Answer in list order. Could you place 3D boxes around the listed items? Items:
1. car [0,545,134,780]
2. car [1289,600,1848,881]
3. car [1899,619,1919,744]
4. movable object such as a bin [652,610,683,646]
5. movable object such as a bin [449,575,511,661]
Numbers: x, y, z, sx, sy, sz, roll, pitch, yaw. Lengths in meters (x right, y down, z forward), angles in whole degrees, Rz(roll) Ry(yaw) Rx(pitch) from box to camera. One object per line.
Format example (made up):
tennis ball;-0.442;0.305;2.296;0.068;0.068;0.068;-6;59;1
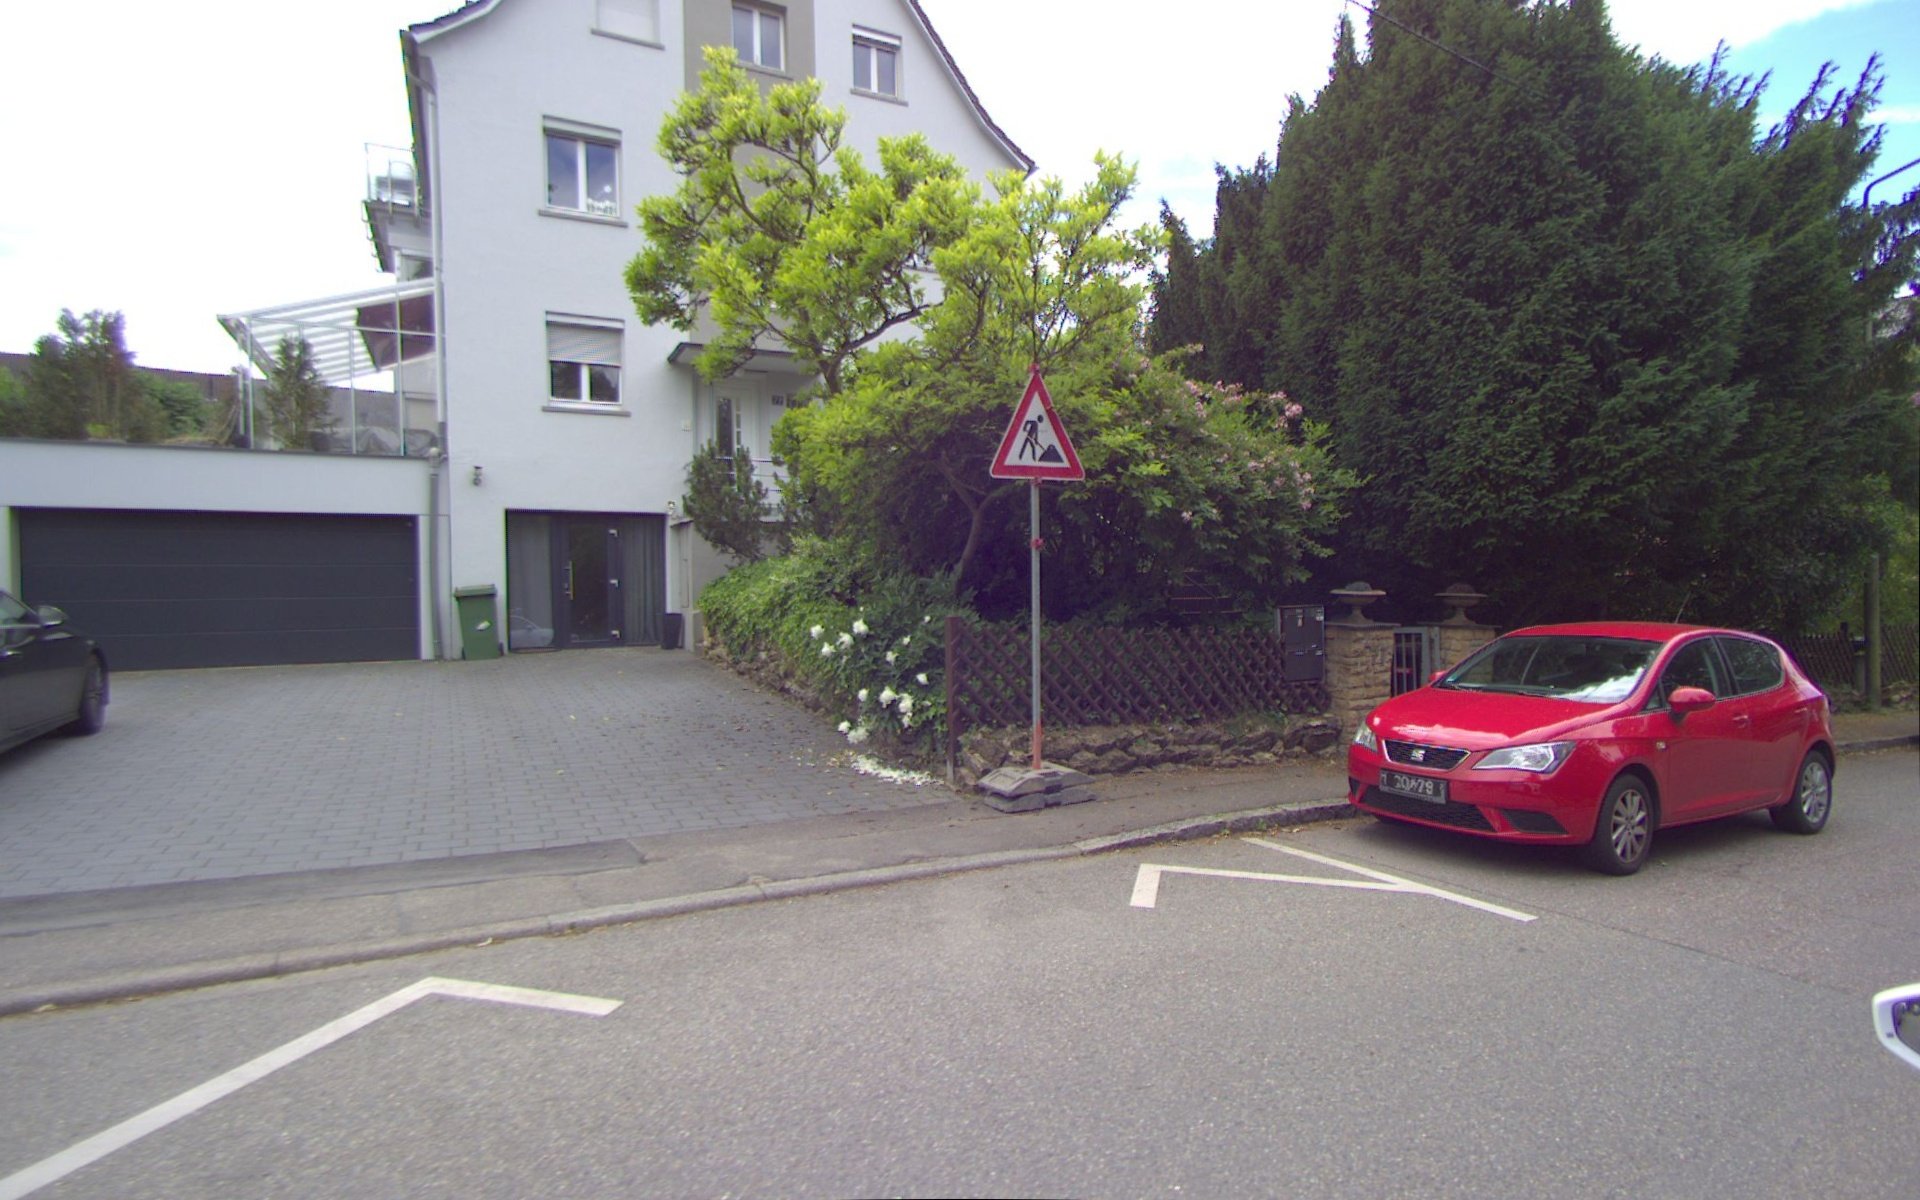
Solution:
car;-7.036;0.363;6.343;1.866;1.405;4.586;0;3;-27
car;4.281;0.773;6.987;3.742;1.458;1.728;1;0;-30
car;13.513;1.011;12.283;4.272;1.458;1.775;1;0;-30
movable object such as a bin;-4.563;0.436;15.682;0.394;0.546;0.312;1;1;-30
movable object such as a bin;-6.941;0.258;14.523;0.759;1.202;0.721;1;-1;-30
